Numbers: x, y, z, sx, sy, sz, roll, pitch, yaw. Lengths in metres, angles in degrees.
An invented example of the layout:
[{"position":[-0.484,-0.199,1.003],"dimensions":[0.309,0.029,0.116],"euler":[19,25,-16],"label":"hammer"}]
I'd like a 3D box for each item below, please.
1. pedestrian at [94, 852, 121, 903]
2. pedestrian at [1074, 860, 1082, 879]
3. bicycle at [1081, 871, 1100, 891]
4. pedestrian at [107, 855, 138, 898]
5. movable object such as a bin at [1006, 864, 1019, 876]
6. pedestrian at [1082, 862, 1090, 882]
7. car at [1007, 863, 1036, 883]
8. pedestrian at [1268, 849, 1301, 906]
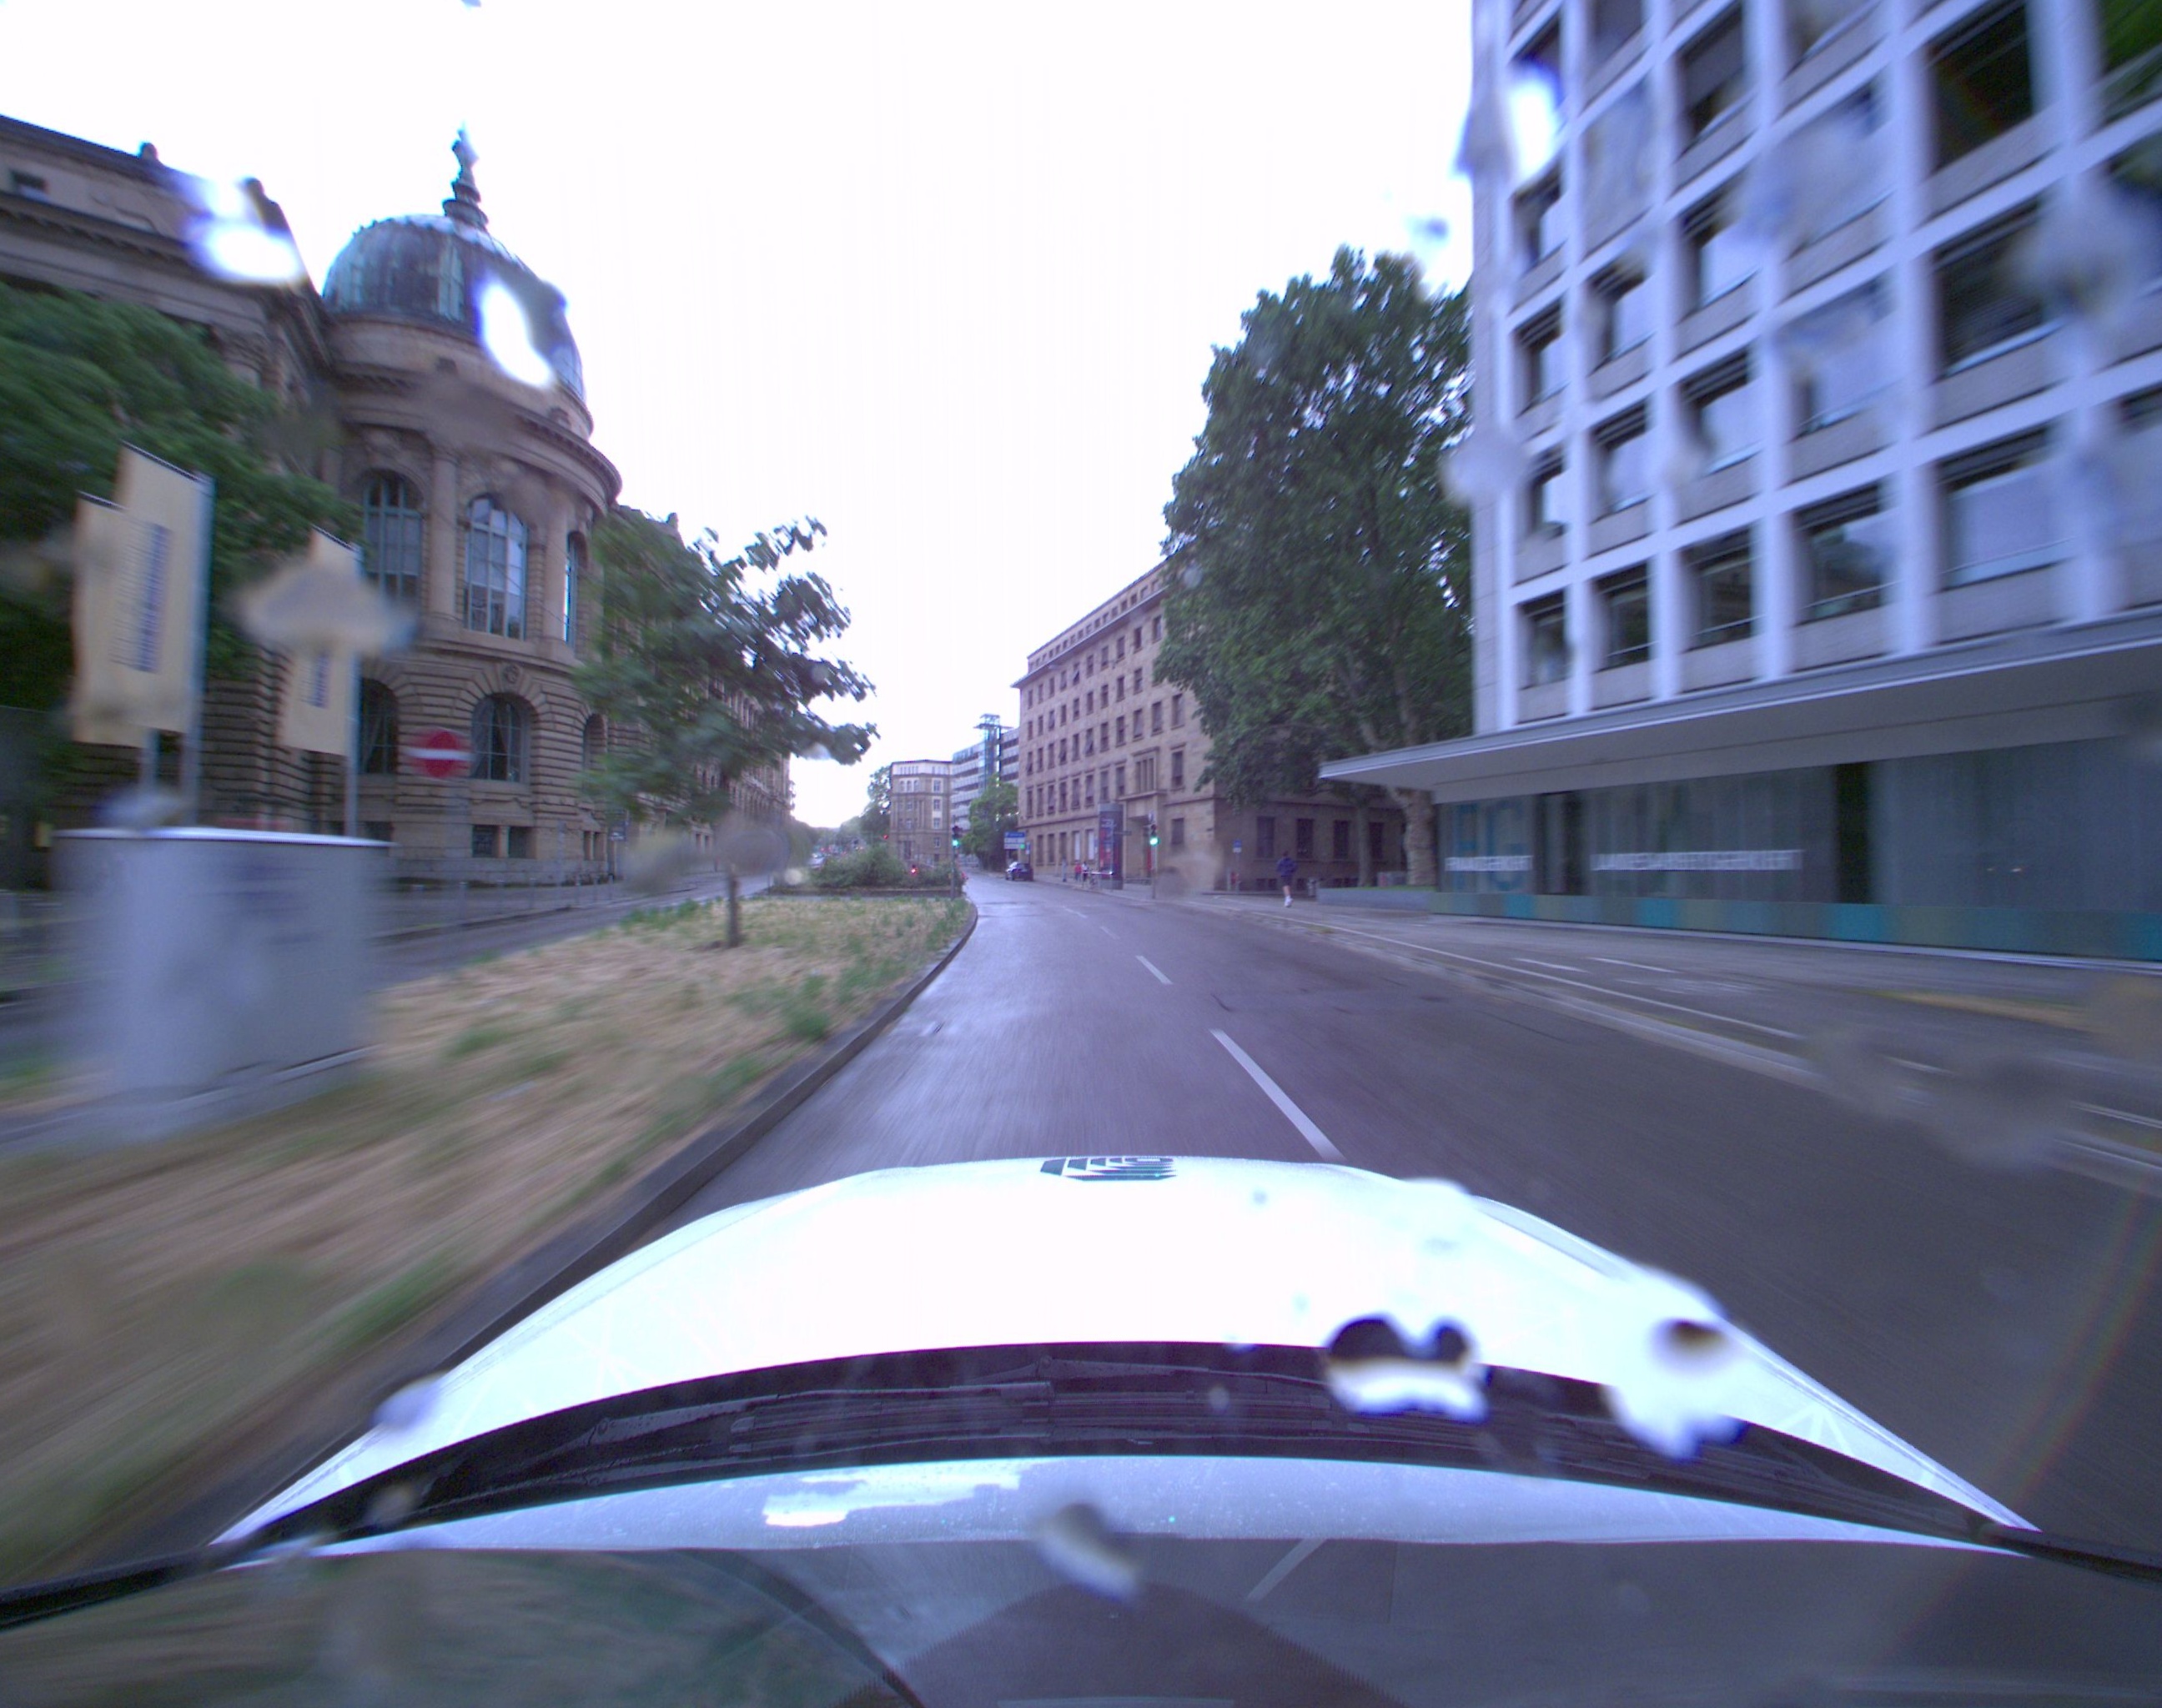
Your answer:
[{"position":[-29.994,0.717,25.105],"dimensions":[0.388,1.529,0.437],"euler":[1,-1,-32],"label":"pedestrian"},{"position":[-0.218,1.196,63.743],"dimensions":[0.525,1.492,0.671],"euler":[1,-1,-12],"label":"pedestrian"},{"position":[0.496,1.437,43.591],"dimensions":[0.490,1.012,1.917],"euler":[1,-1,-16],"label":"bicycle"},{"position":[-30.362,0.715,25.812],"dimensions":[0.443,1.345,0.638],"euler":[1,-1,-32],"label":"pedestrian"},{"position":[-7.503,1.758,89.417],"dimensions":[1.240,1.310,1.228],"euler":[-1,0,-13],"label":"movable object such as a bin"},{"position":[0.381,1.424,64.016],"dimensions":[0.524,1.603,0.671],"euler":[1,-1,-11],"label":"pedestrian"},{"position":[-5.188,1.627,70.718],"dimensions":[1.772,1.619,4.135],"euler":[1,-1,-16],"label":"car"},{"position":[6.445,0.733,25.789],"dimensions":[0.778,1.772,0.861],"euler":[0,-1,-5],"label":"pedestrian"}]
